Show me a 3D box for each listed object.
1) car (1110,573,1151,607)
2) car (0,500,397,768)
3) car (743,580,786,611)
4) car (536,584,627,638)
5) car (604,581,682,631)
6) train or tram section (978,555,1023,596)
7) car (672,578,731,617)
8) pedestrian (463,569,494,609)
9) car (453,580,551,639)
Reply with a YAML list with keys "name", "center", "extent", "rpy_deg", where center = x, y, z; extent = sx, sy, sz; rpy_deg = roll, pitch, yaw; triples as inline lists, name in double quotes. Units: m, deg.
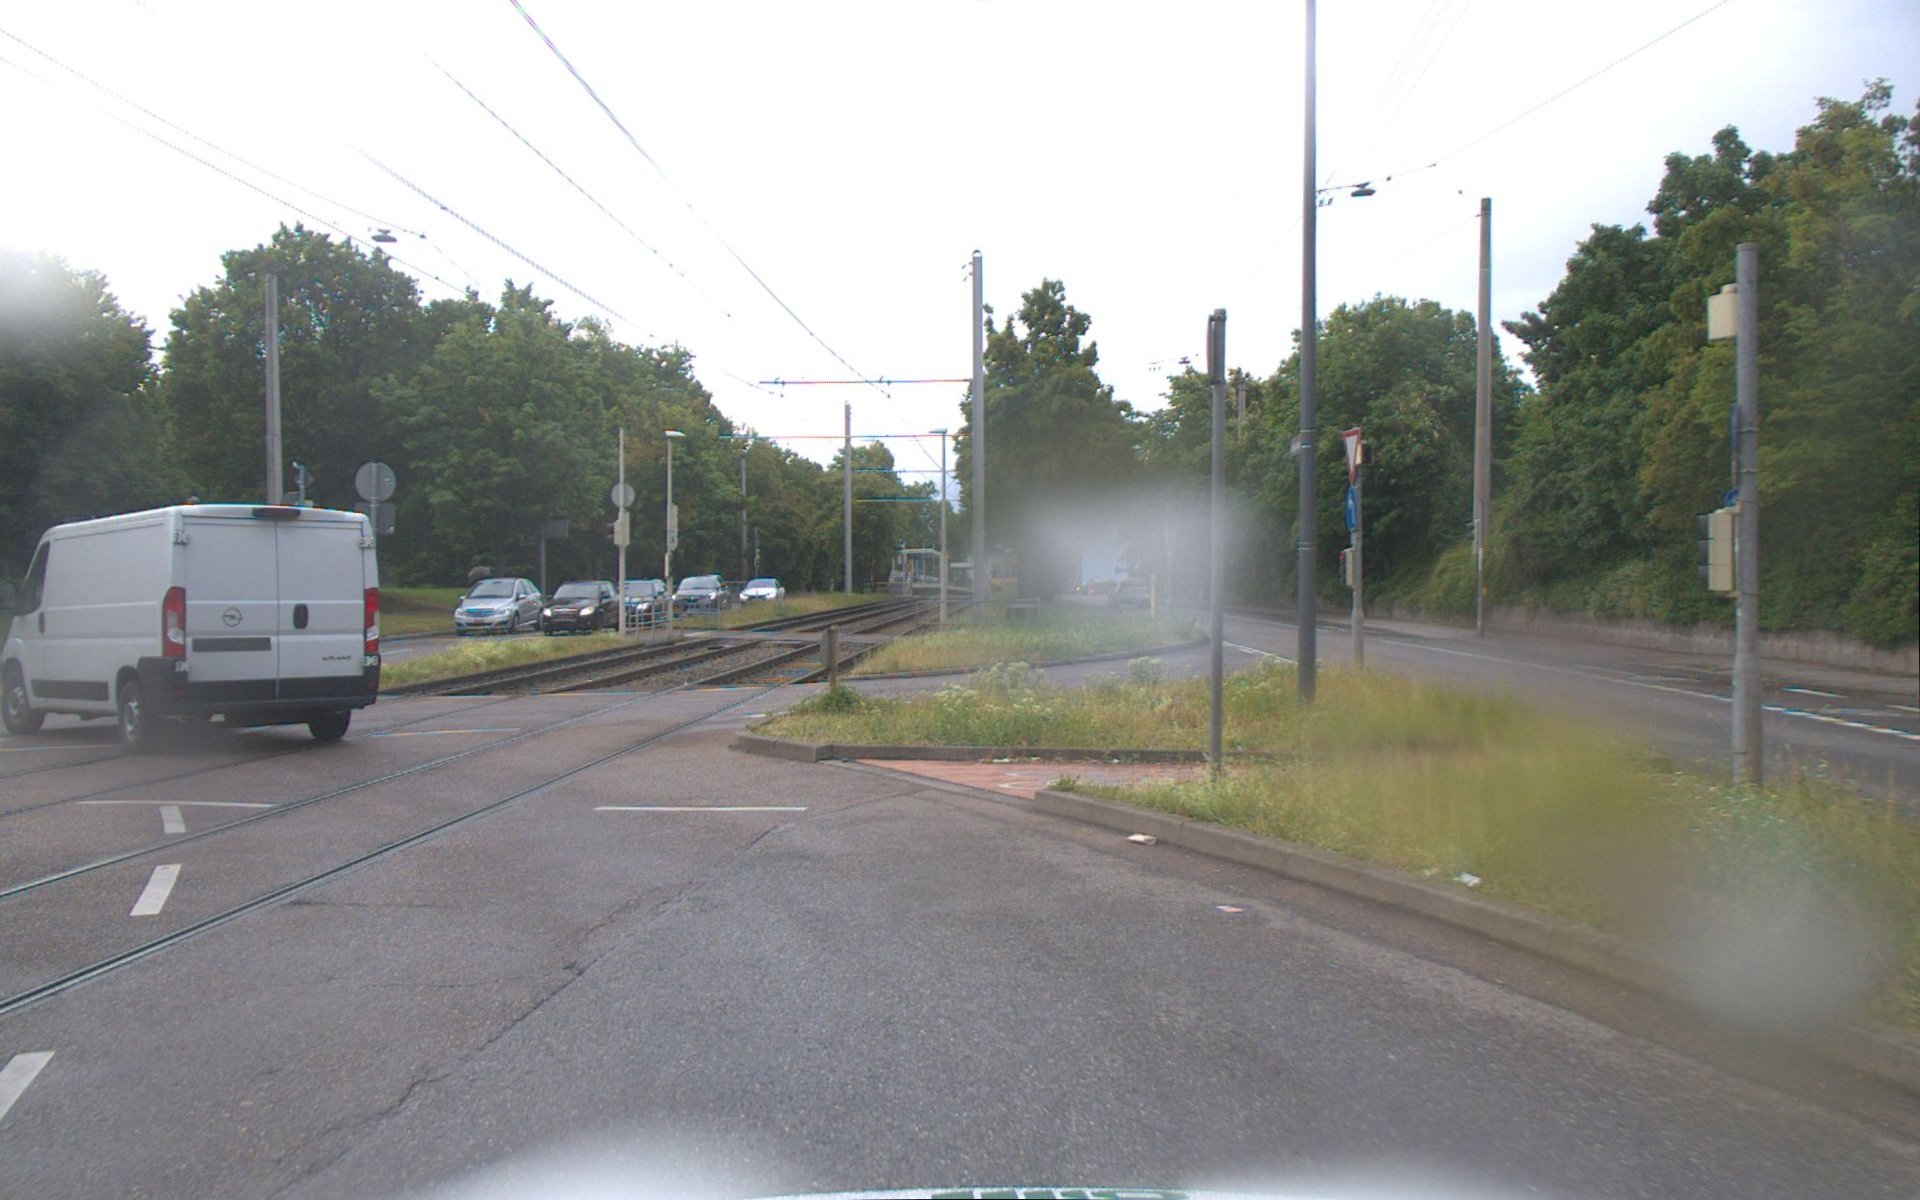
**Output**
- name: "car"
  center: [8.139, -0.506, 78.995]
  extent: [1.668, 1.548, 3.793]
  rpy_deg: [1, 1, 2]
- name: "car"
  center: [-7.903, 0.234, 16.858]
  extent: [2.138, 2.323, 4.979]
  rpy_deg: [-2, 2, -45]
- name: "car"
  center: [-9.785, -0.245, 83.083]
  extent: [1.568, 1.426, 3.793]
  rpy_deg: [-2, 1, 2]
- name: "car"
  center: [-10.760, 0.276, 47.258]
  extent: [1.568, 1.426, 3.793]
  rpy_deg: [1, 1, 2]
- name: "car"
  center: [-9.959, 0.167, 52.244]
  extent: [1.568, 1.426, 3.793]
  rpy_deg: [-2, 1, 2]
- name: "train or tram section"
  center: [4.252, -2.395, 168.814]
  extent: [3.975, 3.962, 15.046]
  rpy_deg: [0, 0, 3]
- name: "car"
  center: [-10.233, -0.116, 65.660]
  extent: [1.568, 1.426, 3.793]
  rpy_deg: [1, 1, 2]
- name: "pedestrian"
  center: [-19.646, -0.452, 67.489]
  extent: [0.993, 1.628, 1.039]
  rpy_deg: [0, 0, -3]
- name: "car"
  center: [-13.665, 0.260, 49.536]
  extent: [1.683, 1.581, 3.864]
  rpy_deg: [-3, 1, 2]
